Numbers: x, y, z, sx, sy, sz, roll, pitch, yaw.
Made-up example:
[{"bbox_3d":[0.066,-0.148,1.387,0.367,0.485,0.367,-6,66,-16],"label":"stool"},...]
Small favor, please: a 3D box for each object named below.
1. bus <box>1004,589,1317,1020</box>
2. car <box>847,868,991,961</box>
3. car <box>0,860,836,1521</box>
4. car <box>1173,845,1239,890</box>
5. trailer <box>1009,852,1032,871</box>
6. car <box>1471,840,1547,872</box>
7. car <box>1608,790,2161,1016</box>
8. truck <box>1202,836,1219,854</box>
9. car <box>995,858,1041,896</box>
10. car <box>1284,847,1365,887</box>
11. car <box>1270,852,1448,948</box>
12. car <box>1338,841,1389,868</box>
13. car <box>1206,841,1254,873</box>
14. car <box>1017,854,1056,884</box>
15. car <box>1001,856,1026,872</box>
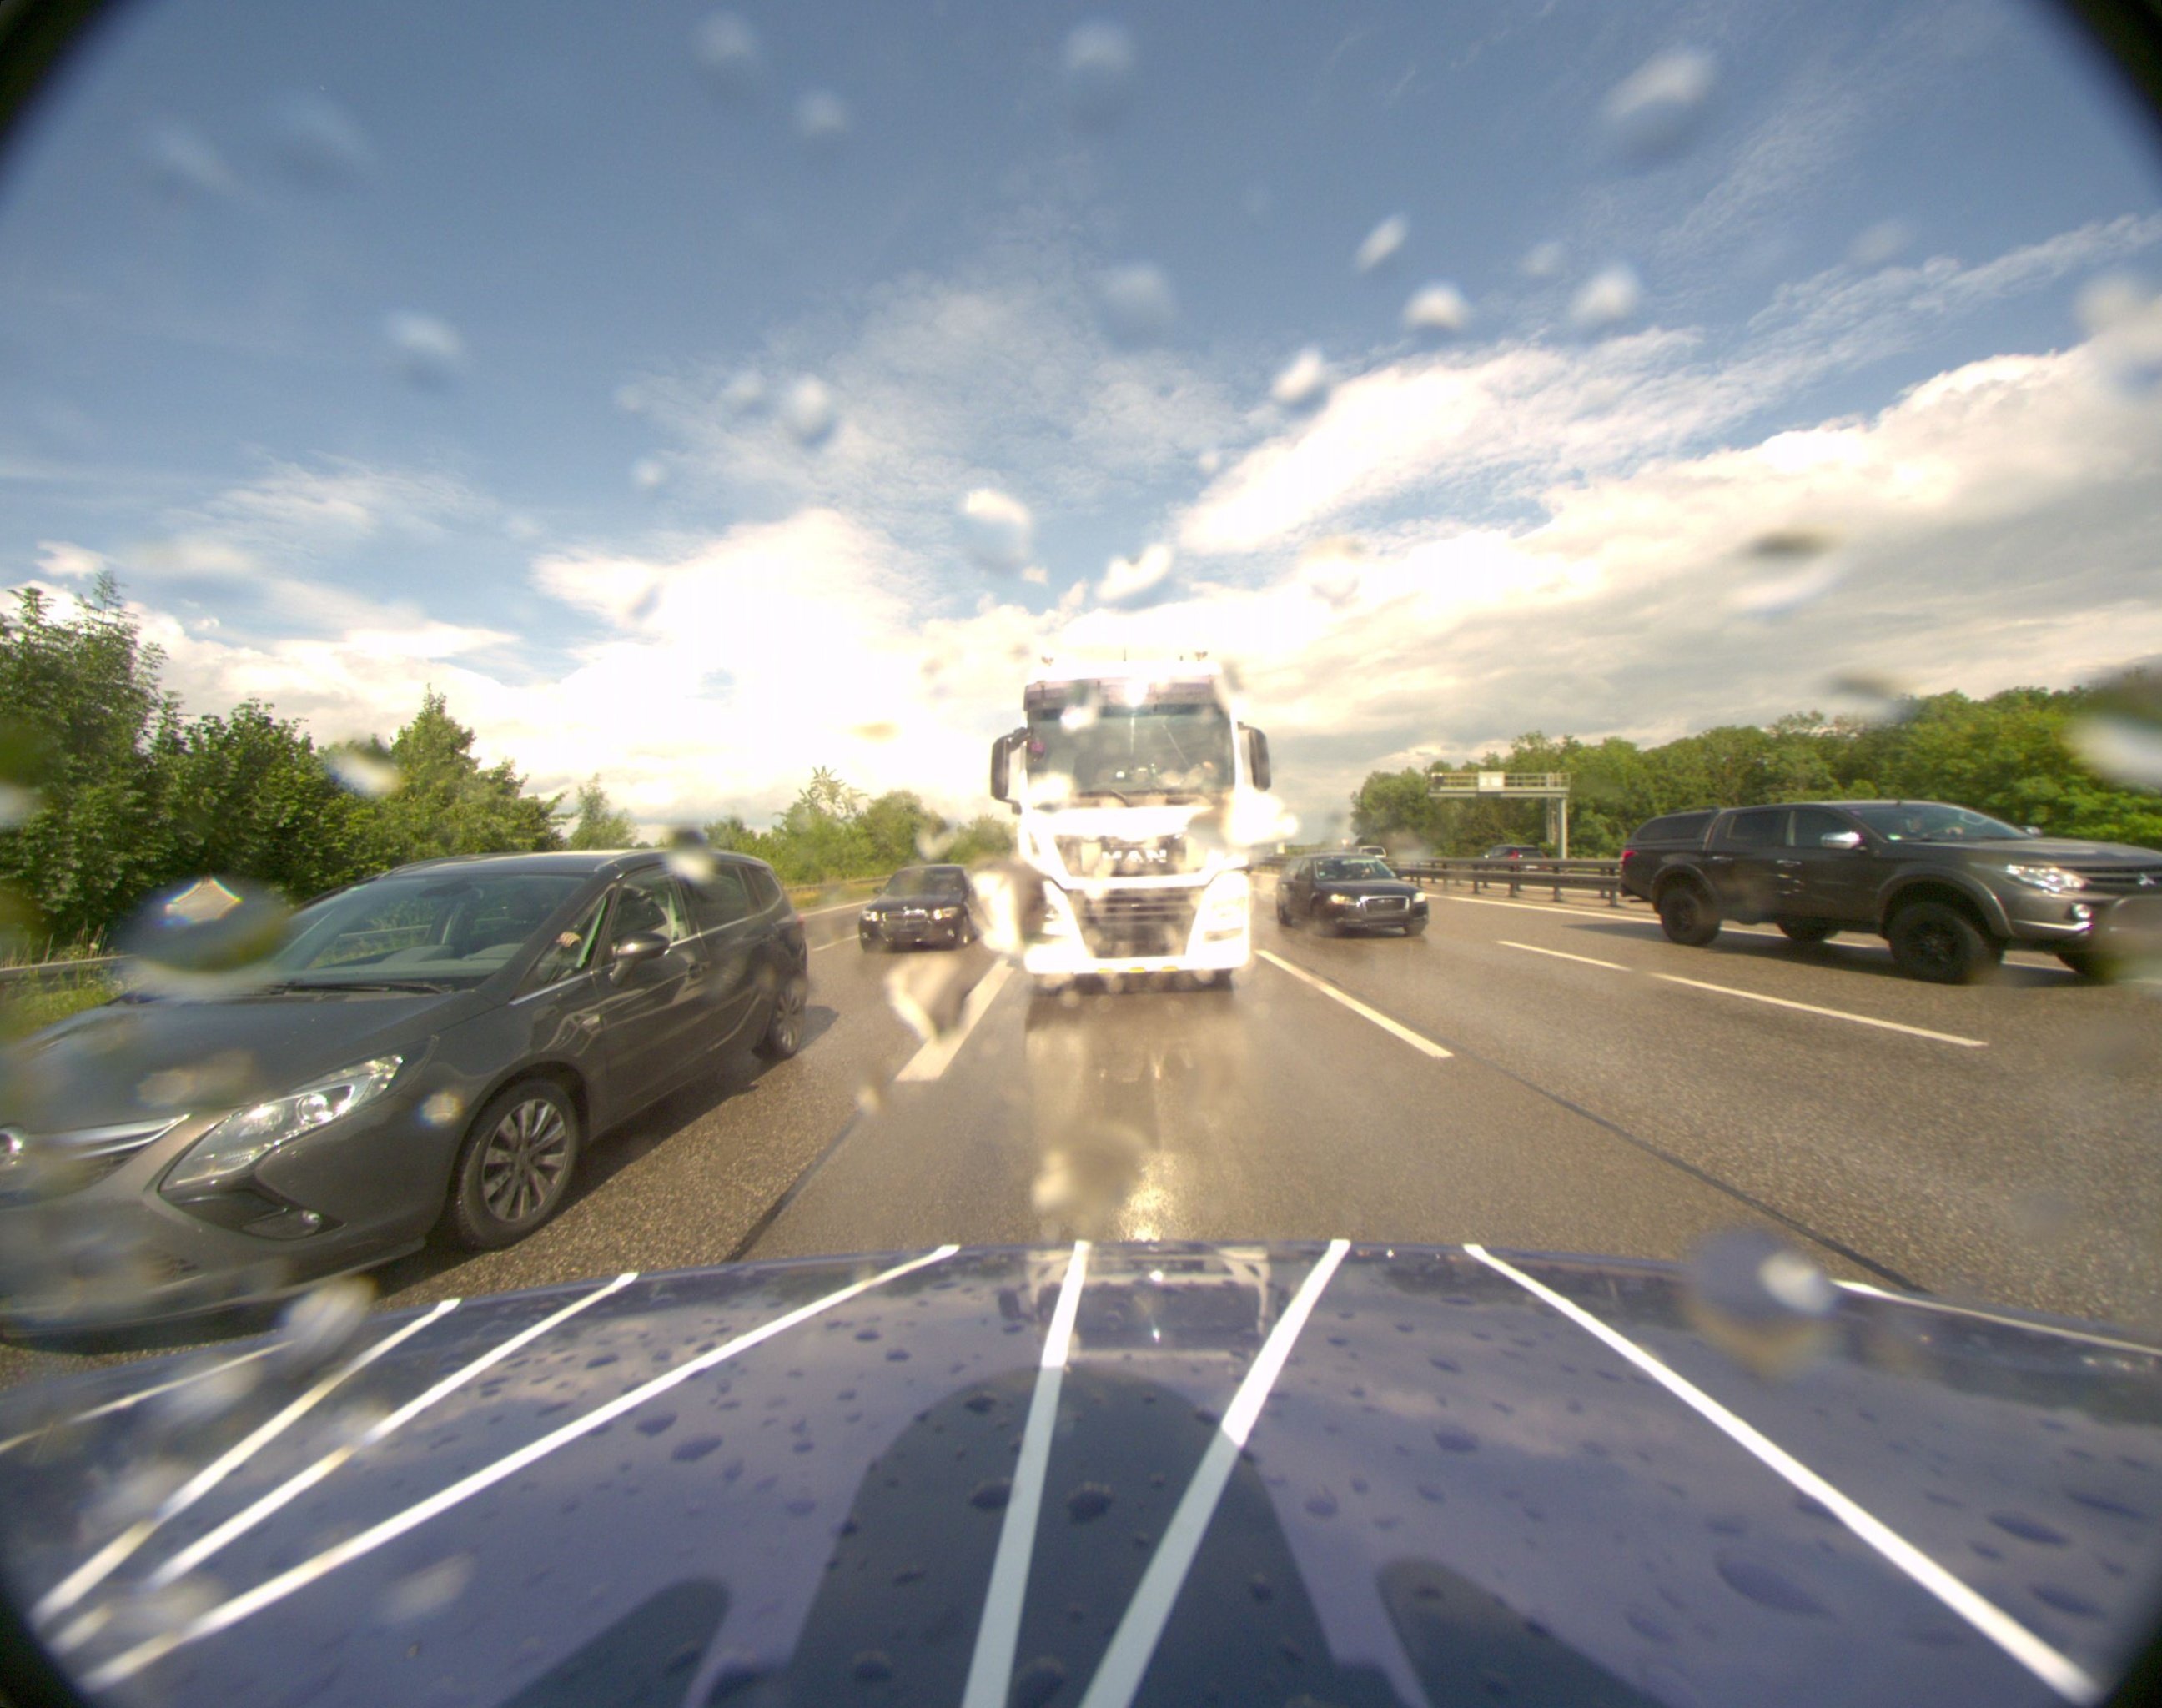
[{"bbox_3d":[0.847,-0.497,12.356,2.904,4.104,9.845,-2,0,1],"label":"bus"},{"bbox_3d":[-2.788,0.987,13.977,1.722,1.346,3.884,-2,0,1],"label":"car"},{"bbox_3d":[-3.160,0.906,4.316,1.858,1.622,4.735,-2,0,1],"label":"car"},{"bbox_3d":[5.078,0.486,31.421,1.881,1.669,4.625,-2,0,0],"label":"car"},{"bbox_3d":[-6.052,0.720,76.402,1.810,1.736,3.967,-3,1,2],"label":"trailer"},{"bbox_3d":[20.625,0.088,36.804,1.754,1.425,3.634,-2,0,3],"label":"car"},{"bbox_3d":[8.955,0.373,8.930,1.811,1.833,5.418,-2,0,1],"label":"car"},{"bbox_3d":[29.704,-1.989,174.103,2.799,3.861,8.919,-2,0,3],"label":"truck"},{"bbox_3d":[-2.533,0.898,31.226,1.744,1.357,3.998,-2,0,-3],"label":"car"},{"bbox_3d":[9.595,0.458,30.322,1.925,1.416,4.372,-2,1,1],"label":"car"},{"bbox_3d":[4.791,0.706,13.742,1.754,1.425,4.054,-2,0,1],"label":"car"},{"bbox_3d":[16.726,0.043,45.114,1.680,1.477,3.703,-2,0,1],"label":"car"},{"bbox_3d":[9.493,0.156,48.789,1.998,1.906,5.235,-2,1,0],"label":"car"},{"bbox_3d":[-2.305,0.759,40.444,1.858,1.434,3.999,-2,1,-1],"label":"car"},{"bbox_3d":[-6.354,0.937,72.210,1.747,1.422,4.405,-2,0,3],"label":"car"}]
